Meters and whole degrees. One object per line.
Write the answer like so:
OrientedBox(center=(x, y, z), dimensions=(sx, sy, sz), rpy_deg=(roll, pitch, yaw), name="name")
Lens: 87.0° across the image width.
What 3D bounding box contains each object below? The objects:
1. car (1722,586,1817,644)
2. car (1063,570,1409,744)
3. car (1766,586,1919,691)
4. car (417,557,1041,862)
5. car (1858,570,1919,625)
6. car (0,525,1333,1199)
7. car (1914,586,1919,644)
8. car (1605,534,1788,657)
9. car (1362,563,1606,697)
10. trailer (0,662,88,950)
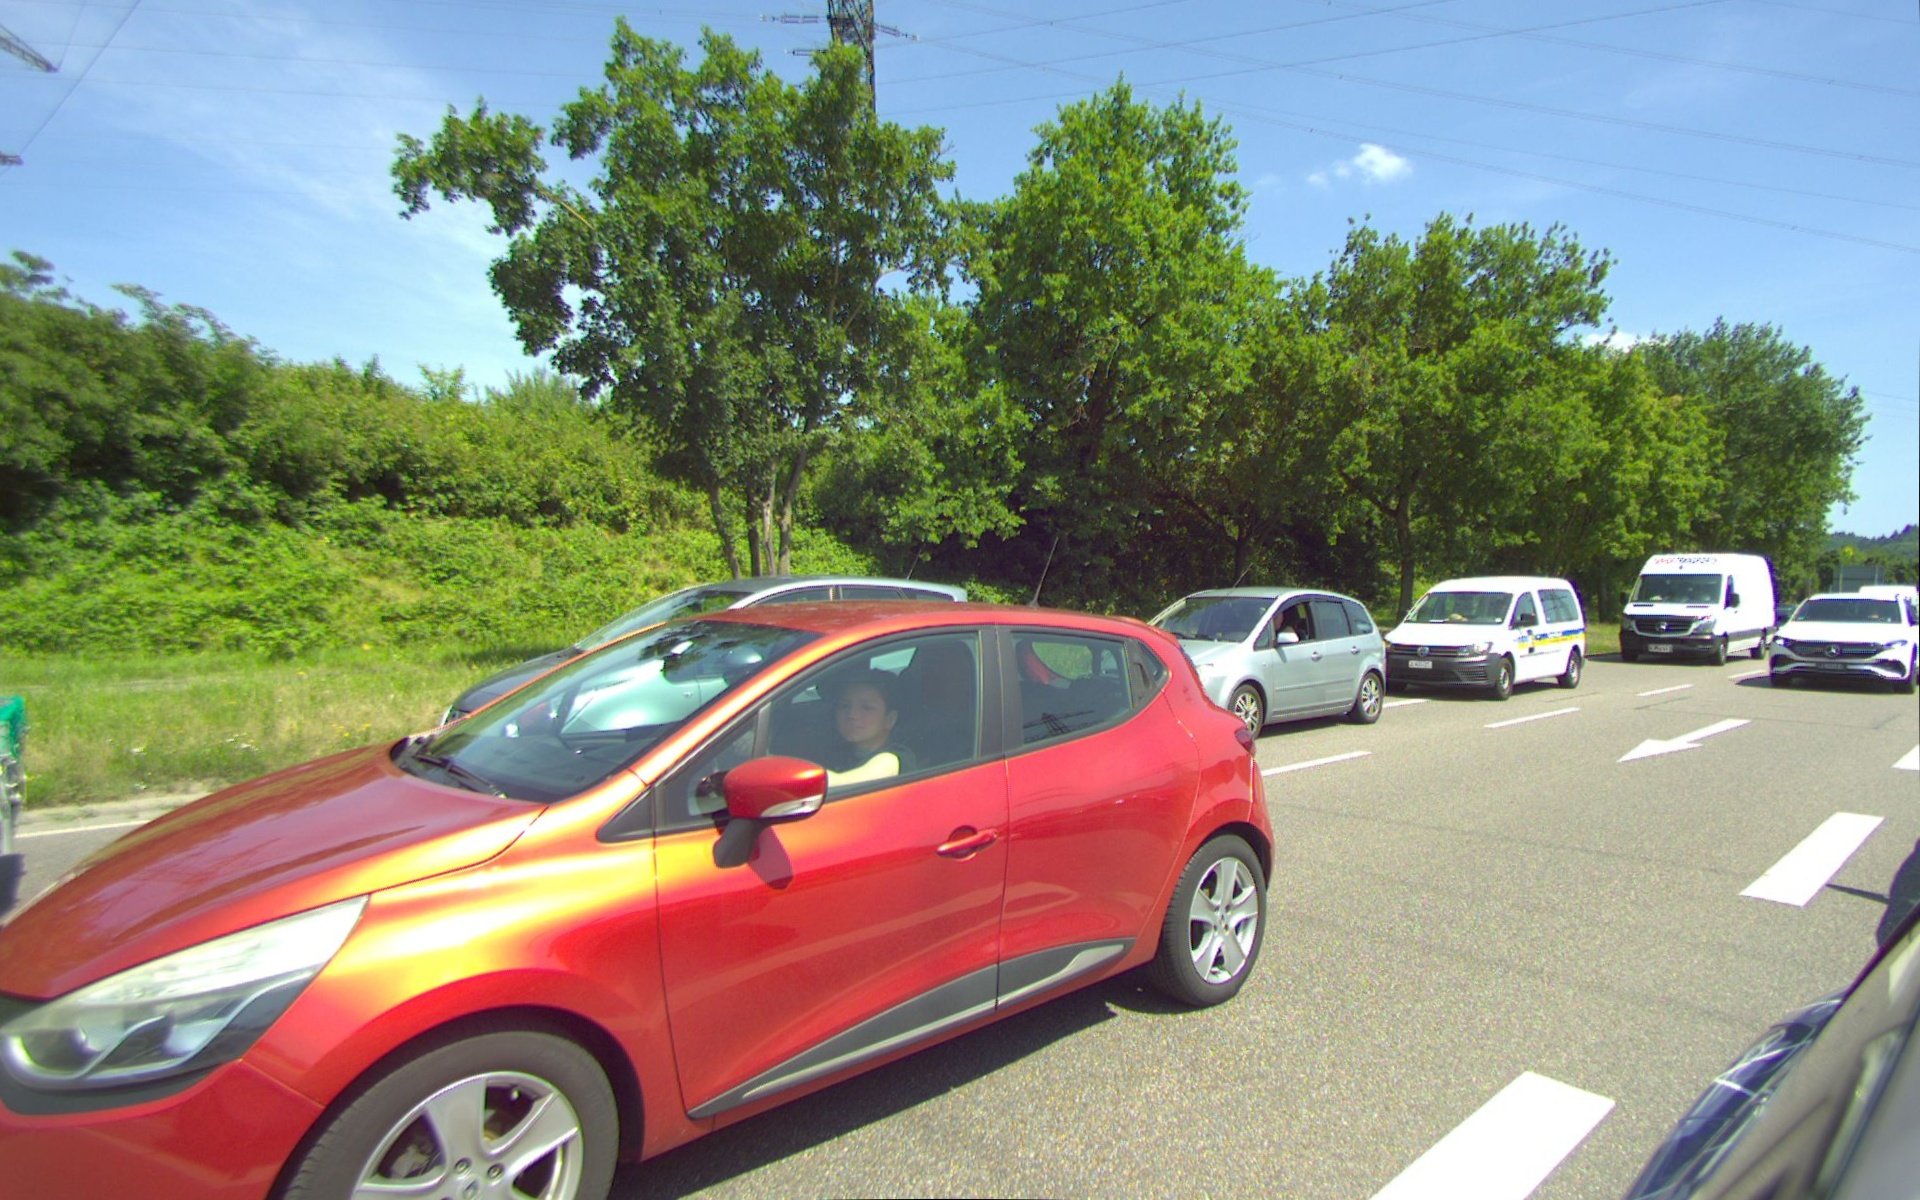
OrientedBox(center=(26.074, 0.428, 32.542), dimensions=(3.933, 1.705, 1.875), rpy_deg=(-1, 1, -43), name="car")
OrientedBox(center=(3.233, 0.522, 11.404), dimensions=(4.197, 1.614, 1.746), rpy_deg=(0, 0, -41), name="car")
OrientedBox(center=(15.517, 0.573, 17.410), dimensions=(4.287, 1.588, 1.849), rpy_deg=(0, 0, -41), name="car")
OrientedBox(center=(-1.483, 0.560, 7.382), dimensions=(4.092, 1.615, 1.768), rpy_deg=(0, 1, -41), name="car")
OrientedBox(center=(44.532, -0.120, 47.905), dimensions=(5.712, 2.453, 2.306), rpy_deg=(0, 0, -41), name="car")
OrientedBox(center=(-0.587, 0.625, 3.363), dimensions=(3.994, 1.480, 1.746), rpy_deg=(0, 0, -41), name="car")
OrientedBox(center=(30.261, 0.450, 30.441), dimensions=(3.932, 1.703, 2.019), rpy_deg=(0, 0, -43), name="car")
OrientedBox(center=(18.226, -0.093, 24.866), dimensions=(6.897, 2.640, 2.230), rpy_deg=(0, 0, -42), name="car")
OrientedBox(center=(8.451, 0.402, 16.088), dimensions=(4.950, 1.823, 1.807), rpy_deg=(0, 0, -42), name="car")
OrientedBox(center=(-5.362, 0.853, 3.705), dimensions=(3.266, 1.019, 1.709), rpy_deg=(0, 0, -41), name="trailer")
